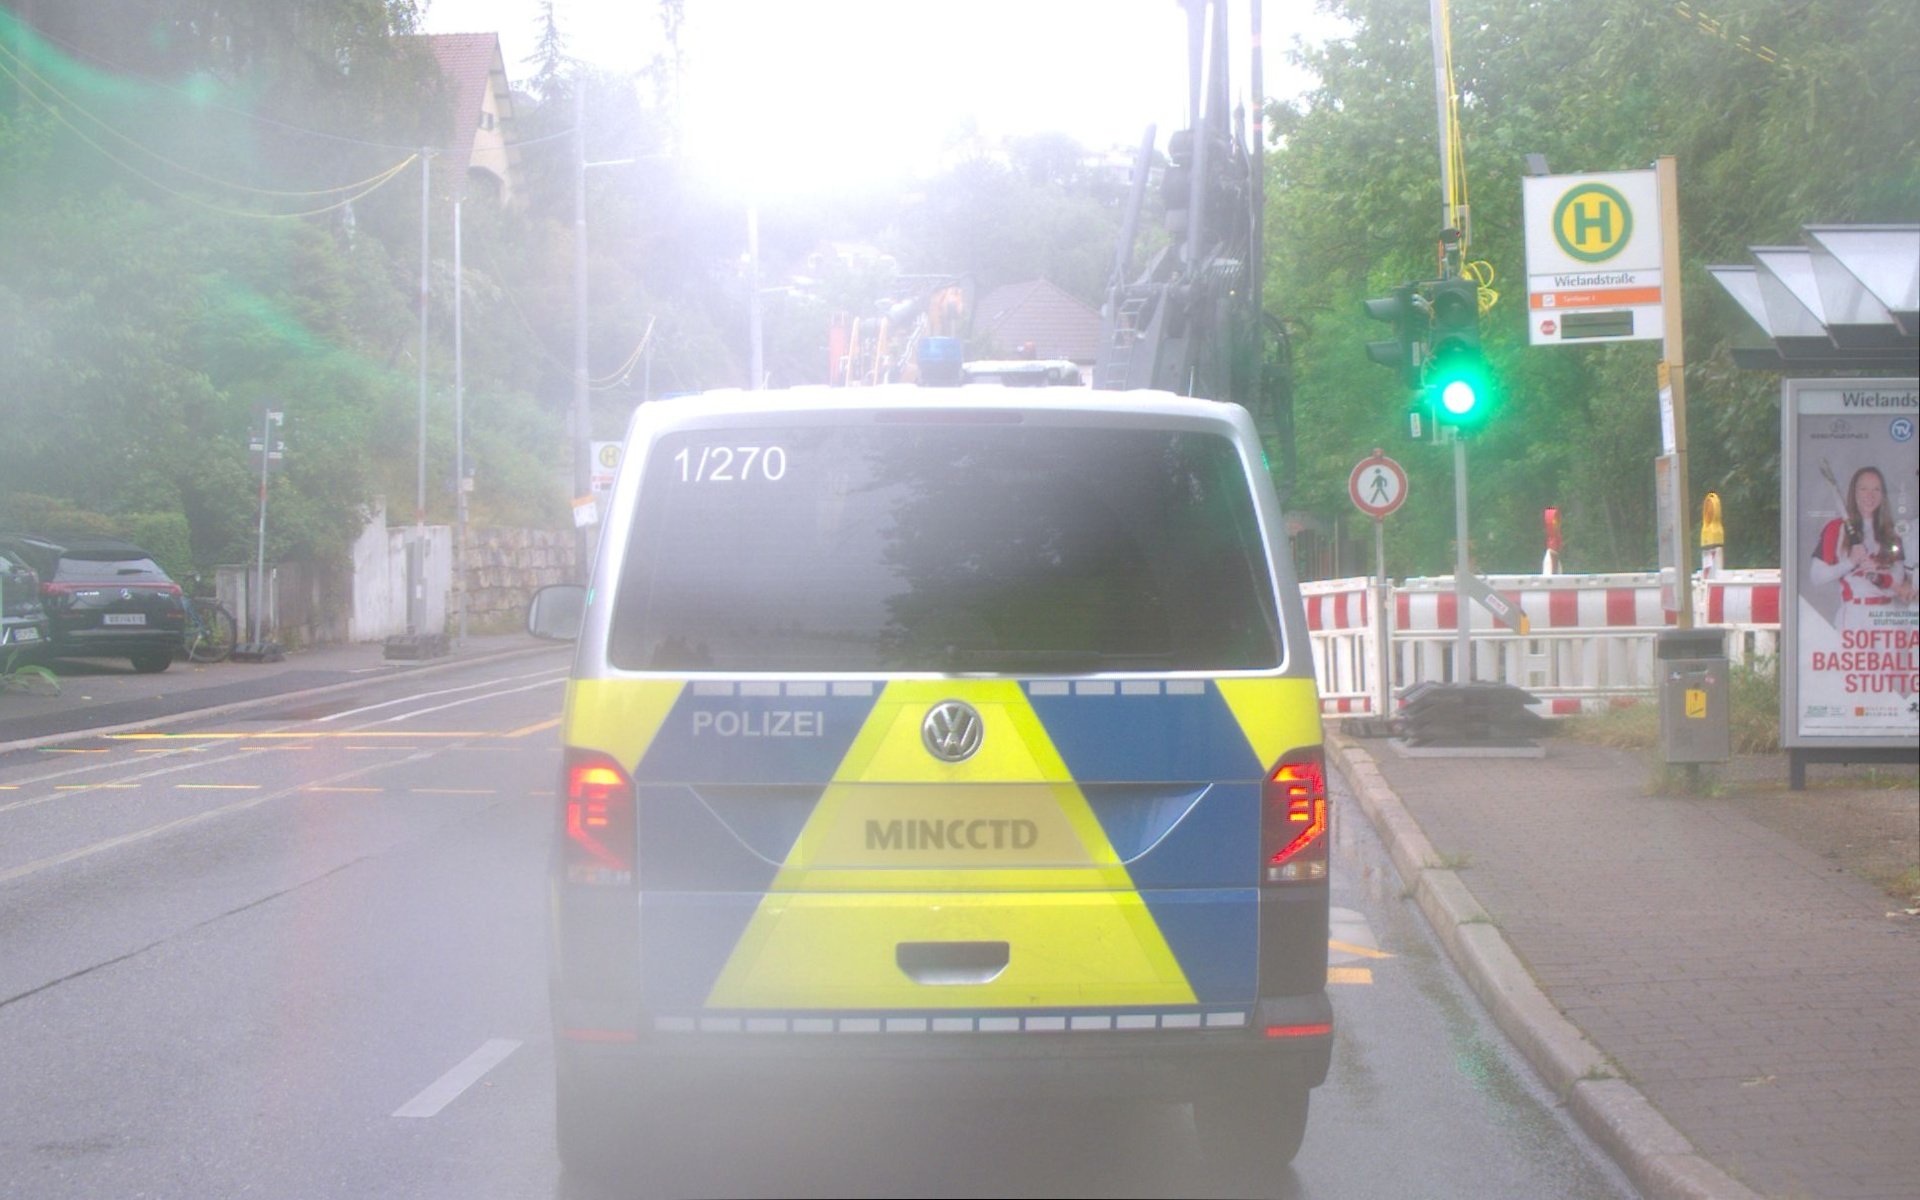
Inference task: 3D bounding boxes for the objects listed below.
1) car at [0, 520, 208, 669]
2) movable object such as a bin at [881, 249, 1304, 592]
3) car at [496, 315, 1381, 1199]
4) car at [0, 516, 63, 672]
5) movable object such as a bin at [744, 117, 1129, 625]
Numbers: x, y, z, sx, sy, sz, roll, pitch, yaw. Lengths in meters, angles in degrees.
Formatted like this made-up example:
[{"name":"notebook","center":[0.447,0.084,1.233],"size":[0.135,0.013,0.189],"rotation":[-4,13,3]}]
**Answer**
[{"name":"car","center":[-9.914,-0.086,37.304],"size":[1.781,1.520,3.999],"rotation":[1,1,-39]},{"name":"movable object such as a bin","center":[2.254,-2.726,55.281],"size":[3.689,5.049,7.150],"rotation":[-1,0,31]},{"name":"car","center":[-0.191,0.387,9.712],"size":[1.907,2.003,4.440],"rotation":[1,0,-4]},{"name":"car","center":[-11.209,-0.088,34.162],"size":[3.989,1.520,1.940],"rotation":[1,0,13]},{"name":"movable object such as a bin","center":[-0.091,-1.960,30.875],"size":[2.879,4.156,4.486],"rotation":[-1,2,6]}]
